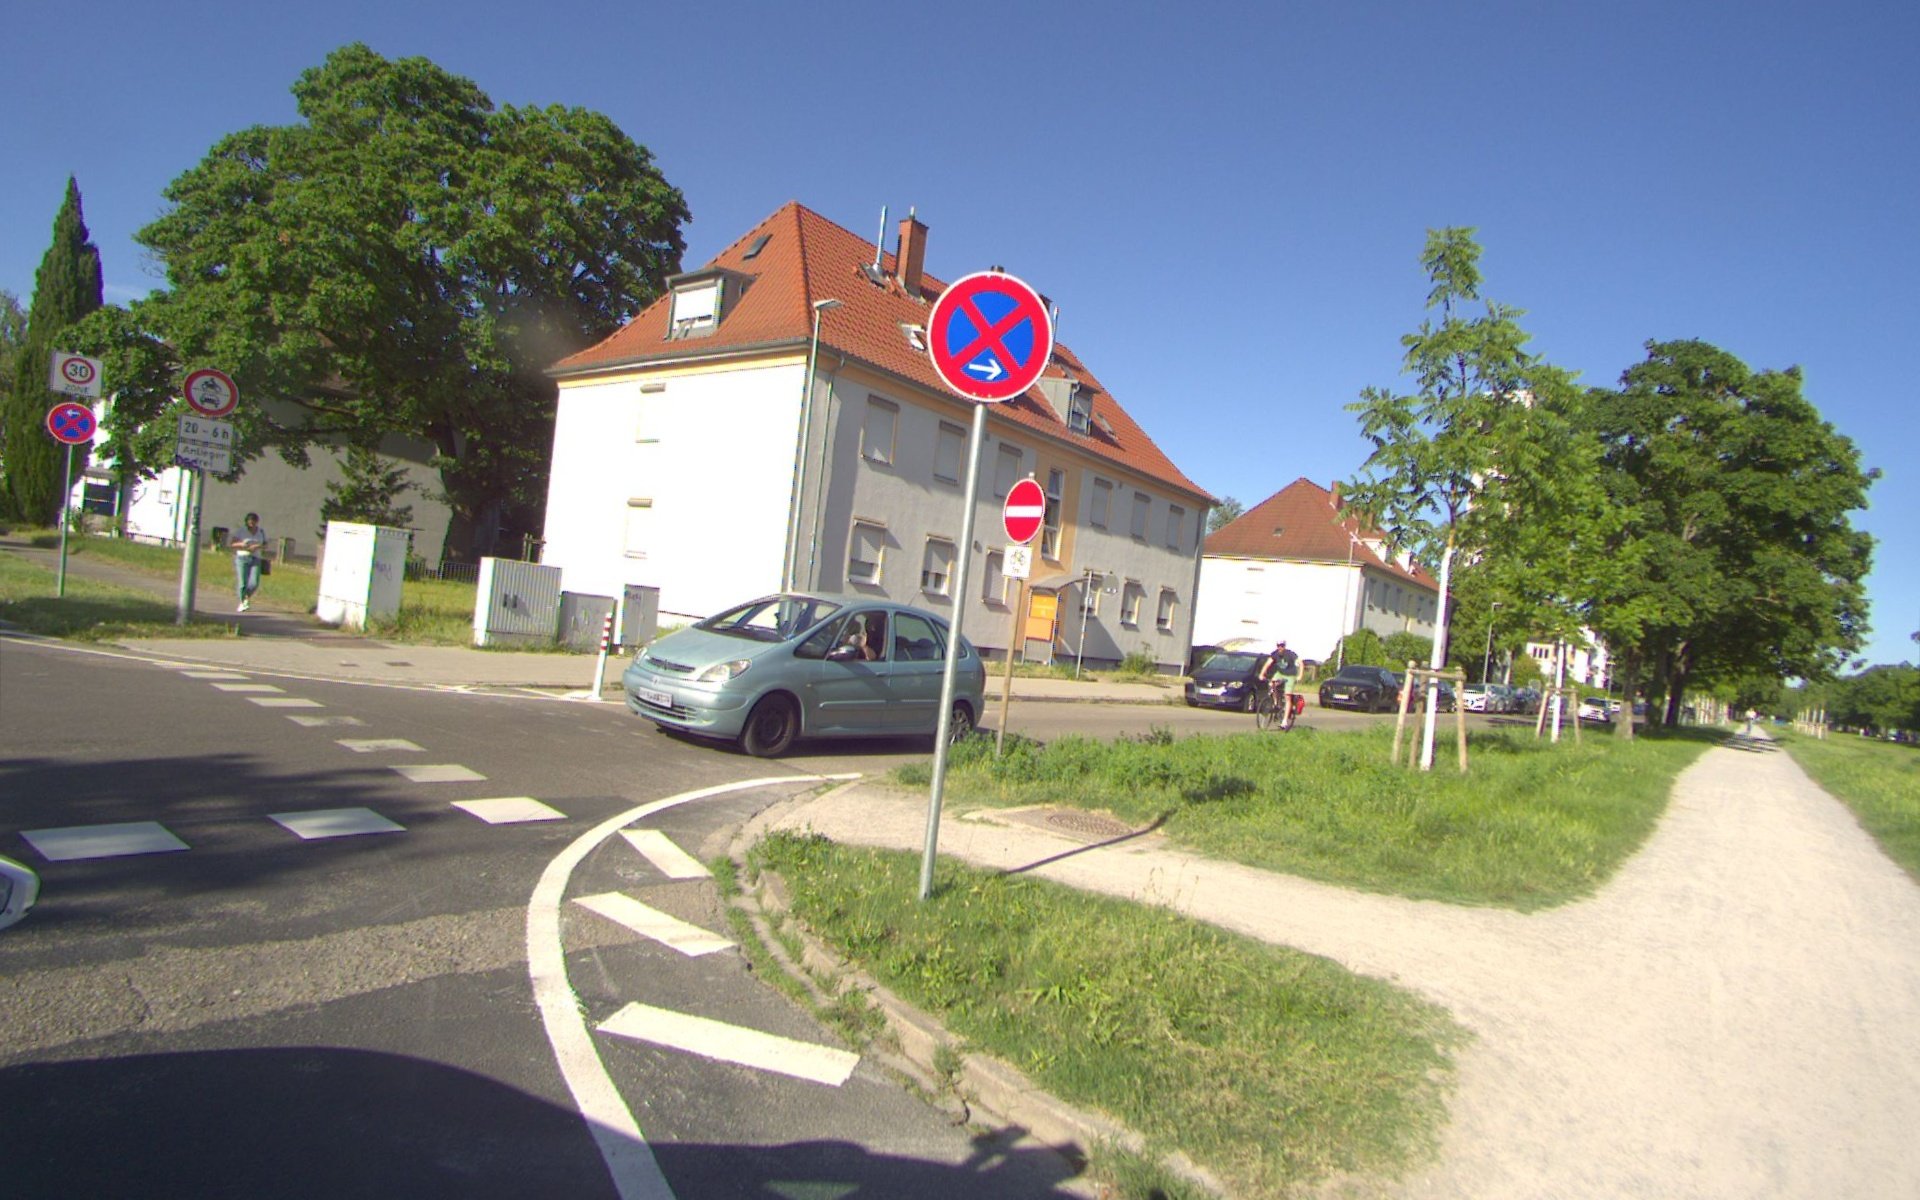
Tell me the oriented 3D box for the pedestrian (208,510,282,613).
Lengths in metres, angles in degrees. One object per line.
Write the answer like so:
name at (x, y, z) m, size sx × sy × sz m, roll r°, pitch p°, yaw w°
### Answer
pedestrian at (-12.176, -0.652, 17.130) m, size 0.823 × 1.631 × 0.764 m, roll 7°, pitch 0°, yaw 43°

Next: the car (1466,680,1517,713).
car at (29.236, 5.299, 55.305) m, size 1.696 × 1.517 × 3.794 m, roll 7°, pitch -1°, yaw 39°

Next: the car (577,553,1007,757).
car at (-1.573, 0.627, 10.742) m, size 1.861 × 1.628 × 4.230 m, roll 7°, pitch -1°, yaw 39°

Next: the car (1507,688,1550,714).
car at (36.286, 6.463, 64.154) m, size 1.696 × 1.358 × 3.794 m, roll 7°, pitch -1°, yaw 39°

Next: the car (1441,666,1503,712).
car at (26.199, 4.570, 51.432) m, size 1.844 × 2.038 × 4.239 m, roll 7°, pitch -1°, yaw 39°

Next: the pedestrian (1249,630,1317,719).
pedestrian at (6.837, 1.577, 21.311) m, size 1.037 × 1.730 × 0.691 m, roll 7°, pitch 1°, yaw 35°

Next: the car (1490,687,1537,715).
car at (33.037, 6.024, 60.000) m, size 1.696 × 1.358 × 3.794 m, roll 7°, pitch -1°, yaw 39°

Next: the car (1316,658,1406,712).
car at (14.375, 3.065, 35.944) m, size 1.696 × 1.602 × 4.124 m, roll 7°, pitch -1°, yaw 39°

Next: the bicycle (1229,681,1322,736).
bicycle at (6.695, 2.262, 21.230) m, size 1.037 × 0.949 × 2.757 m, roll 7°, pitch -1°, yaw 34°

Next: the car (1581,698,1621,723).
car at (41.409, 7.122, 64.969) m, size 1.696 × 1.358 × 3.794 m, roll 7°, pitch -1°, yaw 39°

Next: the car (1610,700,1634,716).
car at (71.353, 11.635, 108.396) m, size 1.696 × 1.358 × 3.794 m, roll 7°, pitch -1°, yaw 39°

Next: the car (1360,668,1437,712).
car at (17.723, 3.651, 40.531) m, size 1.696 × 1.459 × 4.124 m, roll 7°, pitch -1°, yaw 39°

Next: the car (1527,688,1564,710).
car at (42.752, 7.232, 73.387) m, size 1.696 × 1.358 × 3.794 m, roll 7°, pitch -1°, yaw 39°

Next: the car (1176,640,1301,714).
car at (7.683, 2.149, 27.516) m, size 1.696 × 1.684 × 4.048 m, roll 7°, pitch -1°, yaw 39°

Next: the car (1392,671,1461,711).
car at (20.517, 4.011, 44.143) m, size 1.696 × 1.459 × 4.124 m, roll 7°, pitch -1°, yaw 39°

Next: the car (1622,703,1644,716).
car at (80.960, 13.180, 121.001) m, size 1.696 × 1.358 × 3.794 m, roll 7°, pitch -1°, yaw 39°
